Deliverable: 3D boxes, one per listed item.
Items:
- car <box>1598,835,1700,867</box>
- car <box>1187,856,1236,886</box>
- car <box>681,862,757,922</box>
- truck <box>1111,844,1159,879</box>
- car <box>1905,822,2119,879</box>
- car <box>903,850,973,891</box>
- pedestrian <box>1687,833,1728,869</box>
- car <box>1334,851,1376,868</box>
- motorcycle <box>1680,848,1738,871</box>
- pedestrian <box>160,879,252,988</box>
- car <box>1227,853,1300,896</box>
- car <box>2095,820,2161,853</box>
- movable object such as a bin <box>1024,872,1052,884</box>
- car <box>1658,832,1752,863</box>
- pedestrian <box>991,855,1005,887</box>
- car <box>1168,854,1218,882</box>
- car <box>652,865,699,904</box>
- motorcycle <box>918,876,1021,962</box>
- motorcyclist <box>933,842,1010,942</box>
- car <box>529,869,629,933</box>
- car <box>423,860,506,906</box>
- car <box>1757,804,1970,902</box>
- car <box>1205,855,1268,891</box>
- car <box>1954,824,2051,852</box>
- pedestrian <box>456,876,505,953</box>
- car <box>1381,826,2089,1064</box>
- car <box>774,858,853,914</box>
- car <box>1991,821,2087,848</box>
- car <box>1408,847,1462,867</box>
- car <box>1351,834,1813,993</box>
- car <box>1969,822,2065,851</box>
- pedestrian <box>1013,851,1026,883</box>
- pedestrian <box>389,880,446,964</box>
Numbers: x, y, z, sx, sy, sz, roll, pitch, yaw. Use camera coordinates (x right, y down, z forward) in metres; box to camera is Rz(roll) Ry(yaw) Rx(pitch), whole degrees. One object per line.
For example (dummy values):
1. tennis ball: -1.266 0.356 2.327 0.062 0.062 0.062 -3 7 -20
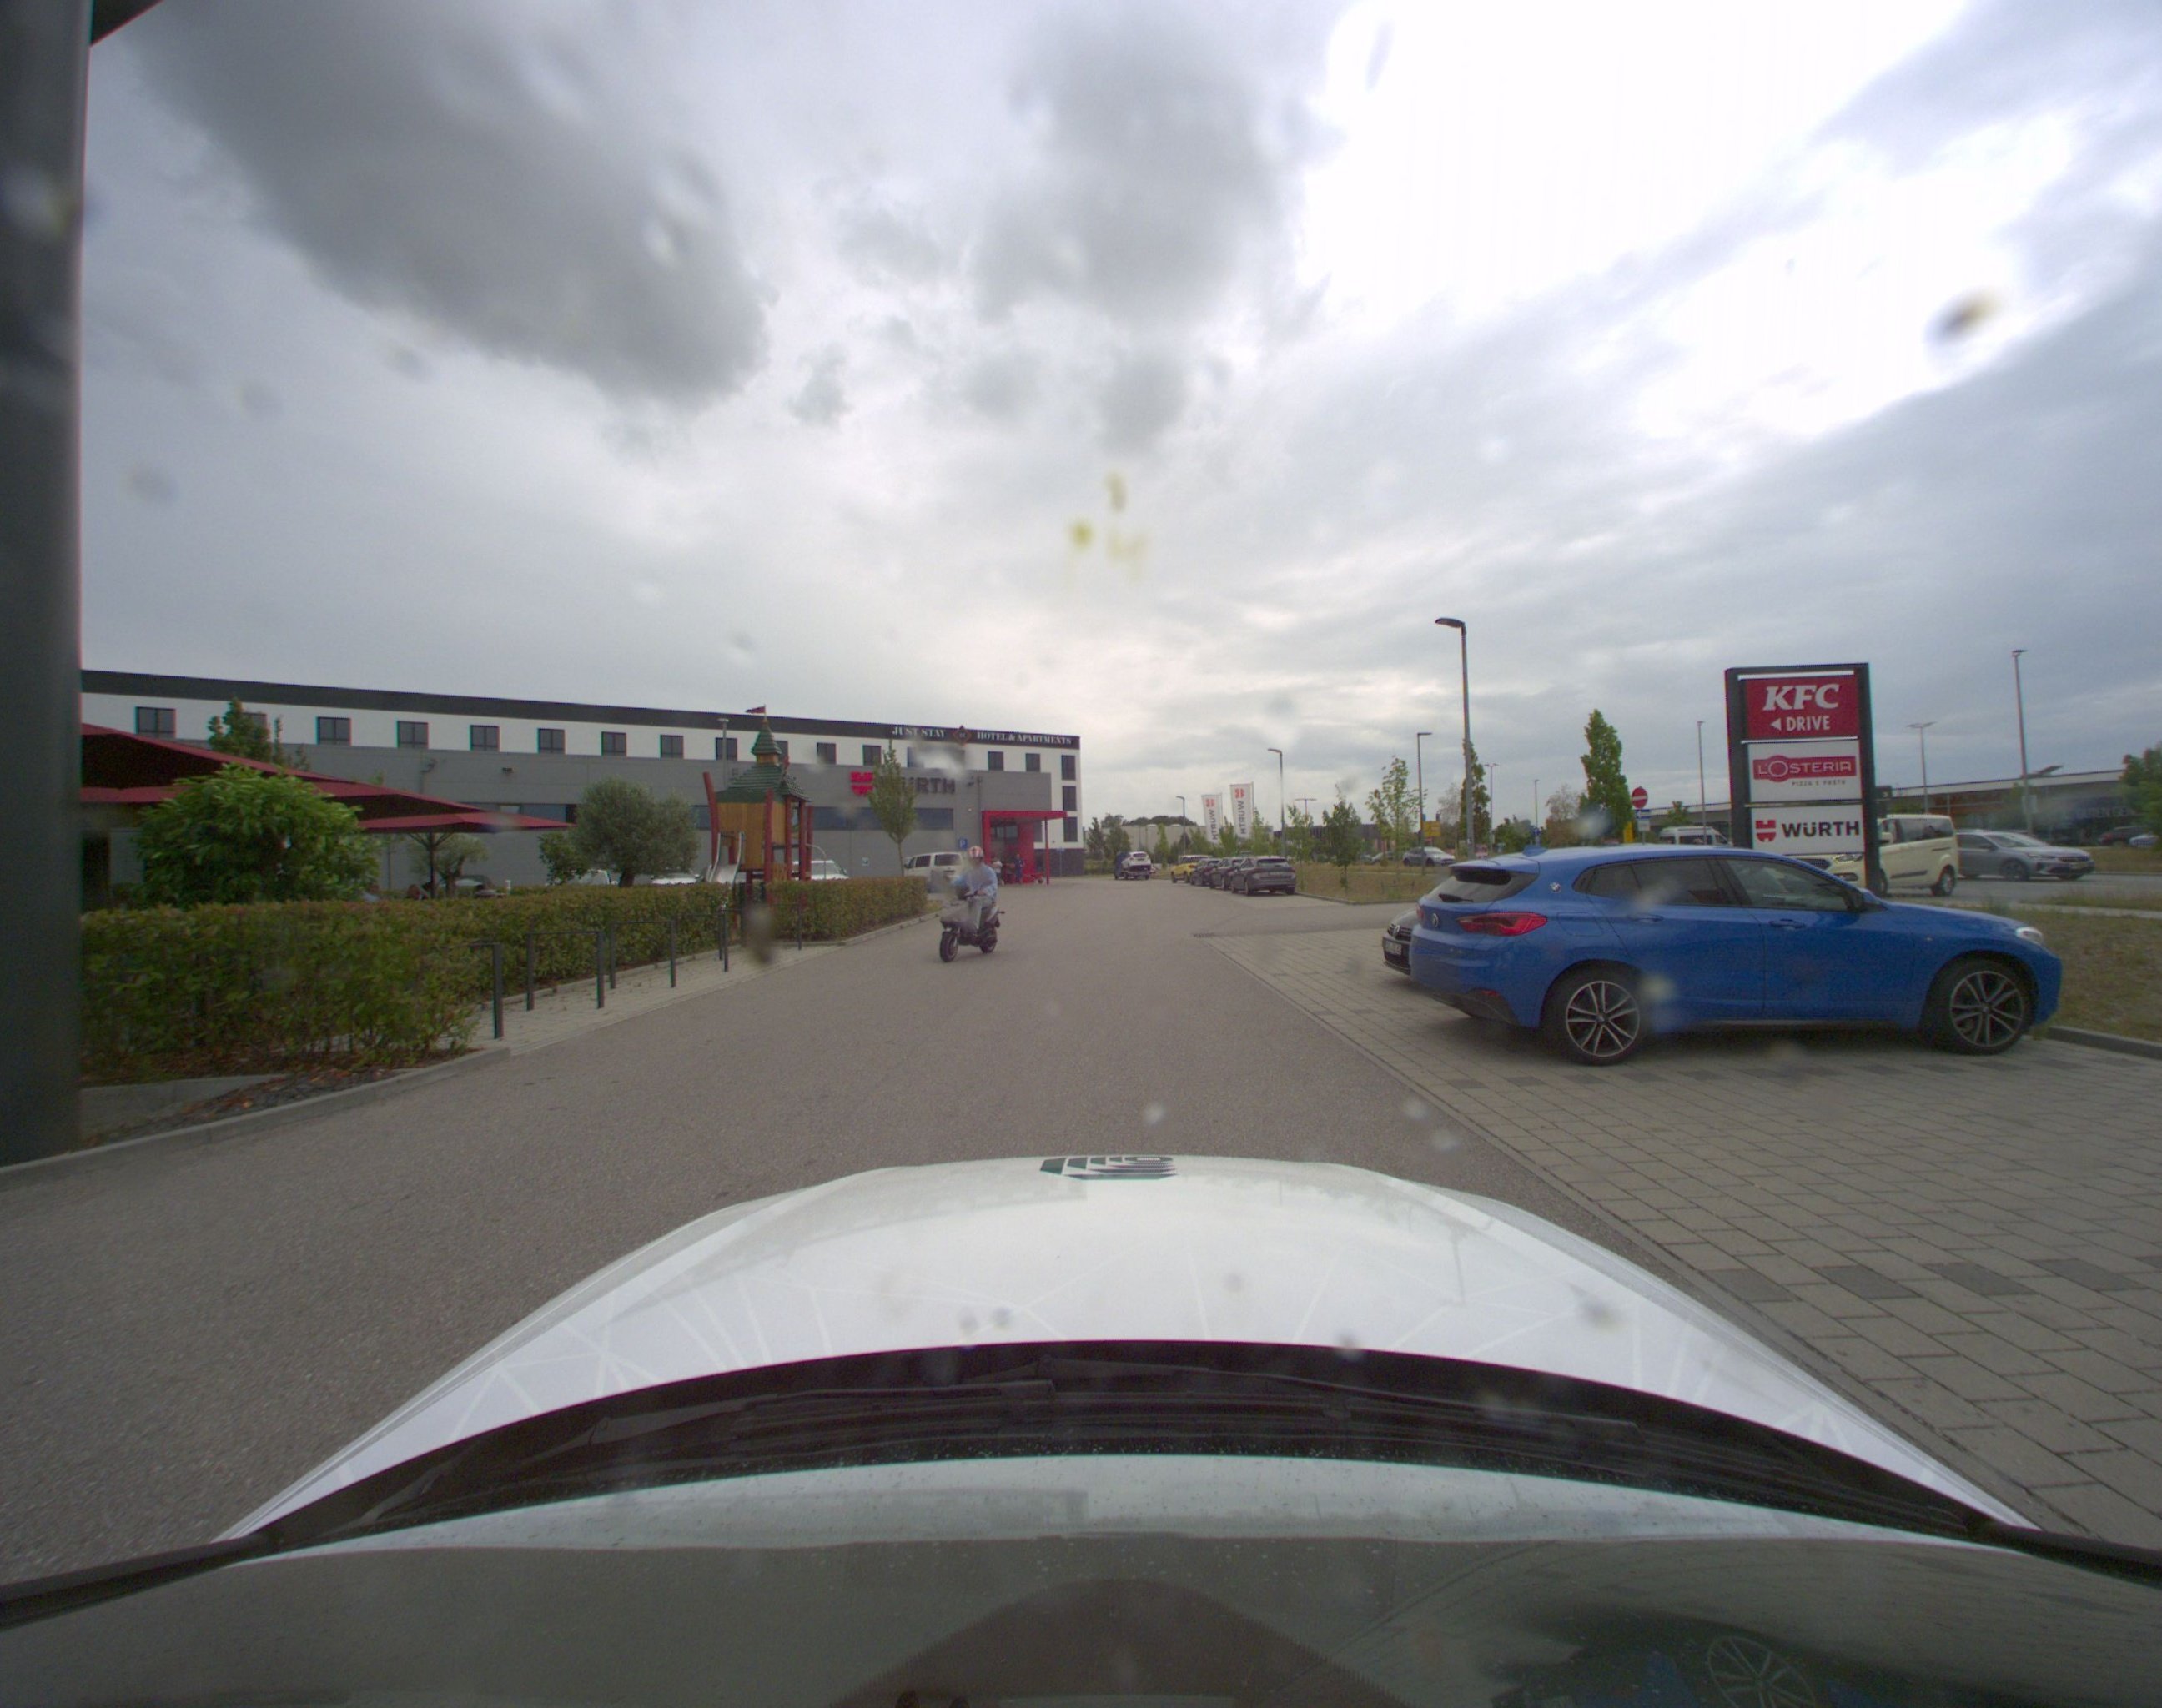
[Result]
1. car: 27.060 -0.123 38.974 1.759 1.395 4.213 -2 -1 -4
2. car: 6.886 0.885 43.345 1.747 1.469 4.102 -1 -1 -3
3. car: -11.792 1.201 26.471 2.004 1.650 4.539 -3 -1 -25
4. truck: 4.290 0.676 66.235 2.330 2.407 7.872 0 -3 -8
5. car: 27.507 -0.083 24.303 1.817 1.459 4.001 -3 -1 2
6. car: -7.358 0.882 41.727 2.069 1.855 4.020 -4 0 -32
7. pedestrian: 23.874 -0.108 31.067 0.799 1.282 0.901 -4 -3 8
8. car: 27.038 0.547 80.549 1.797 1.552 4.835 -3 -1 -11
9. motorcycle: 23.888 0.221 31.036 0.809 0.773 2.031 -4 -2 8
10. pedestrian: -14.818 1.329 13.806 0.737 1.748 0.704 -3 -1 3
11. car: 6.899 0.751 31.265 1.746 1.469 4.474 -1 -1 -1
12. car: 64.178 -1.097 48.556 1.997 1.838 4.164 -3 0 -15
13. movable object such as a bin: -2.688 1.475 50.756 1.495 0.704 0.957 0 -1 -23
14. car: 49.323 -0.501 64.483 5.560 2.122 2.340 -3 -1 0
15. pedestrian: -4.693 0.959 46.075 0.621 1.751 0.906 -2 -1 4
16. car: 6.793 0.862 49.764 1.857 1.650 3.984 0 -1 -11
17. car: -18.258 1.361 36.659 1.746 1.552 4.225 -3 -1 -27
18. motorcycle: -1.709 0.978 12.830 0.786 1.208 1.931 -2 -1 19
19. motorcyclist: -1.713 0.589 12.832 0.821 1.489 0.946 -2 -1 18
20. car: -15.124 1.372 24.777 2.004 1.650 4.539 -3 -1 -25
21. car: -24.559 1.155 32.605 2.006 1.638 4.759 -1 -1 -30
22. car: 18.849 -0.086 19.578 5.240 2.086 1.983 -2 0 -26
23. car: 6.976 0.837 36.955 1.748 1.469 4.470 -1 -1 -3
24. car: 66.518 -1.132 58.888 1.999 1.838 4.160 -3 0 -18
25. pedestrian: -14.372 1.428 19.519 0.744 1.748 0.698 -3 -1 -23
26. car: 4.856 0.636 6.562 4.187 1.544 1.865 -1 -1 0
27. car: -9.260 1.072 27.973 2.004 1.650 4.539 -3 -1 -25
28. car: 71.660 -1.433 60.992 1.997 1.748 4.165 -3 0 -15
29. car: 26.524 0.236 61.181 1.759 1.395 4.552 -2 -1 -4
30. car: 5.357 0.603 9.150 4.045 1.459 1.777 -2 0 2
31. car: 69.040 -1.265 60.167 1.997 1.838 4.166 -3 0 -14
32. pedestrian: -3.565 0.762 47.608 0.675 1.802 0.879 -2 -1 -3
33. pedestrian: -14.578 1.473 17.914 0.744 1.748 0.698 -3 -1 -23
